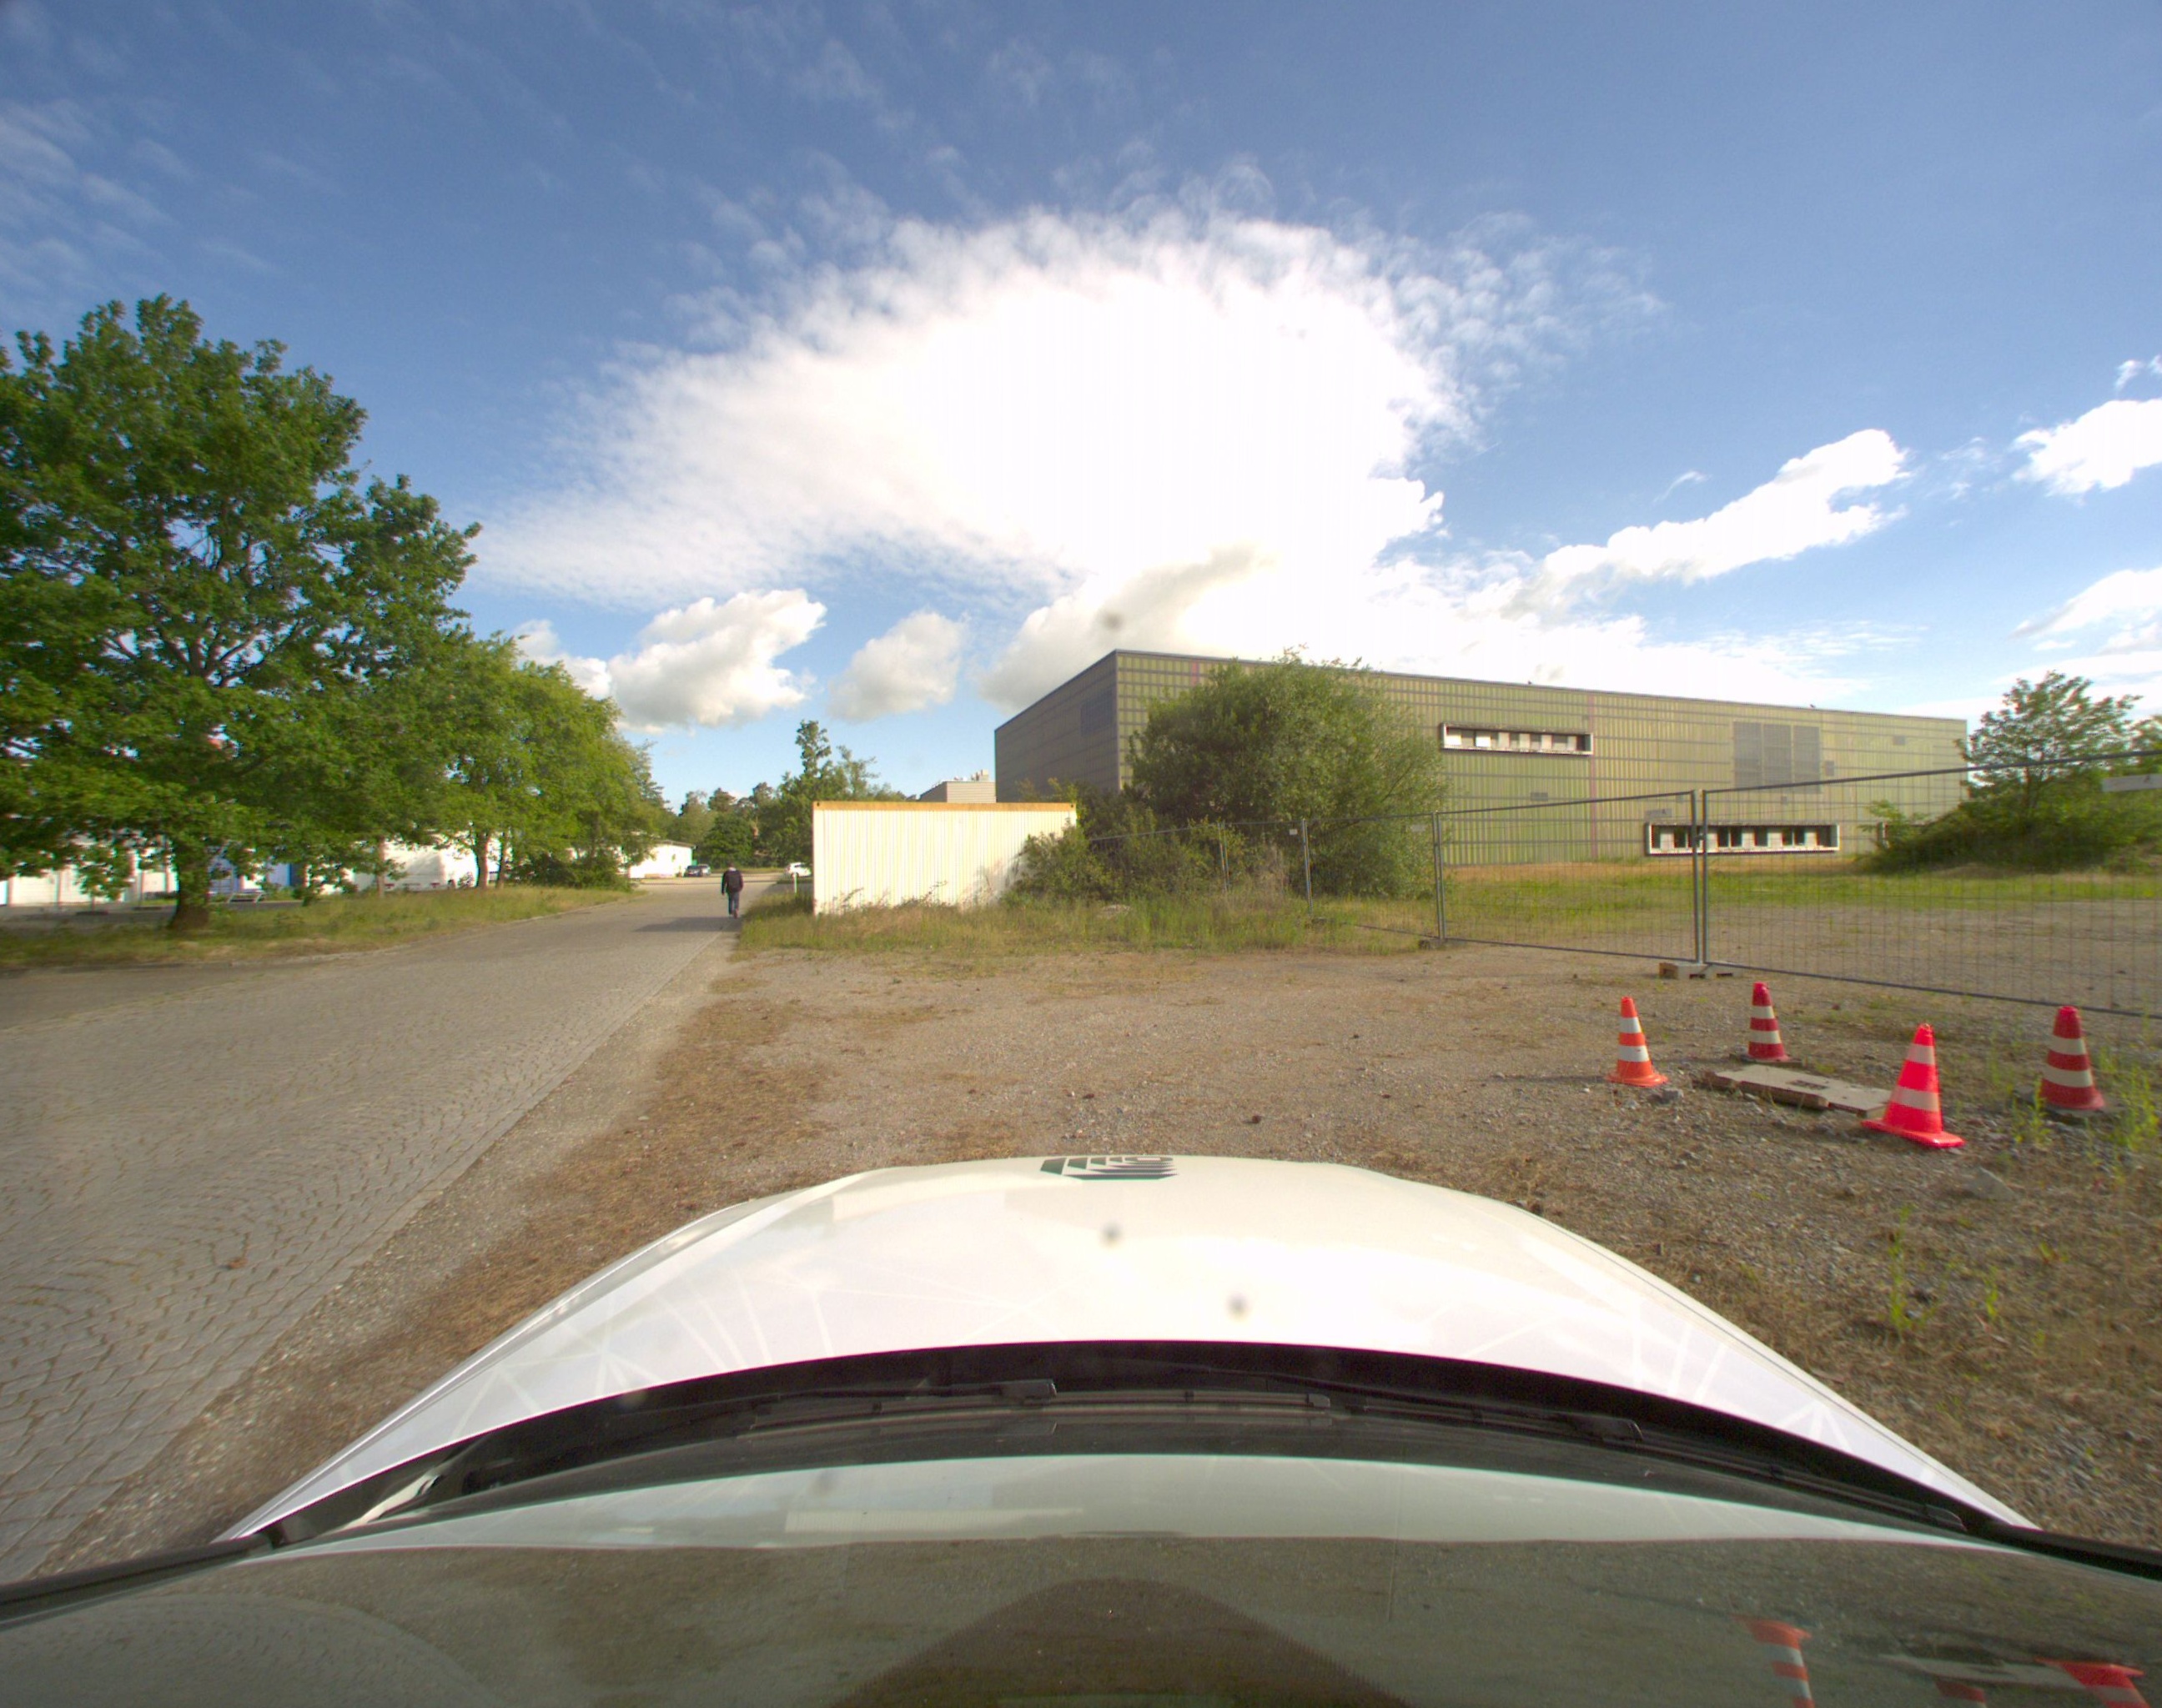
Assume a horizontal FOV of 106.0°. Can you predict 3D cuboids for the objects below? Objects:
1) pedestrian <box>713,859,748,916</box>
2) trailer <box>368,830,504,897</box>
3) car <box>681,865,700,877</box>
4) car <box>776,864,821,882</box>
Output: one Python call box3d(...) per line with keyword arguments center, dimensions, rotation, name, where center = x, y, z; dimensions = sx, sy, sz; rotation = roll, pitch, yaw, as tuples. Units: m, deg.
box3d(center=(-9.911, 0.923, 23.067), dimensions=(0.868, 1.559, 1.020), rotation=(-1, -1, -22), name="pedestrian")
box3d(center=(-37.132, 0.549, 47.439), dimensions=(2.925, 3.471, 9.840), rotation=(-1, 0, -18), name="trailer")
box3d(center=(-47.315, 2.052, 98.555), dimensions=(2.004, 1.371, 3.965), rotation=(-1, 0, -26), name="car")
box3d(center=(-27.825, 1.865, 80.357), dimensions=(3.994, 1.643, 1.990), rotation=(-1, -1, -15), name="car")
